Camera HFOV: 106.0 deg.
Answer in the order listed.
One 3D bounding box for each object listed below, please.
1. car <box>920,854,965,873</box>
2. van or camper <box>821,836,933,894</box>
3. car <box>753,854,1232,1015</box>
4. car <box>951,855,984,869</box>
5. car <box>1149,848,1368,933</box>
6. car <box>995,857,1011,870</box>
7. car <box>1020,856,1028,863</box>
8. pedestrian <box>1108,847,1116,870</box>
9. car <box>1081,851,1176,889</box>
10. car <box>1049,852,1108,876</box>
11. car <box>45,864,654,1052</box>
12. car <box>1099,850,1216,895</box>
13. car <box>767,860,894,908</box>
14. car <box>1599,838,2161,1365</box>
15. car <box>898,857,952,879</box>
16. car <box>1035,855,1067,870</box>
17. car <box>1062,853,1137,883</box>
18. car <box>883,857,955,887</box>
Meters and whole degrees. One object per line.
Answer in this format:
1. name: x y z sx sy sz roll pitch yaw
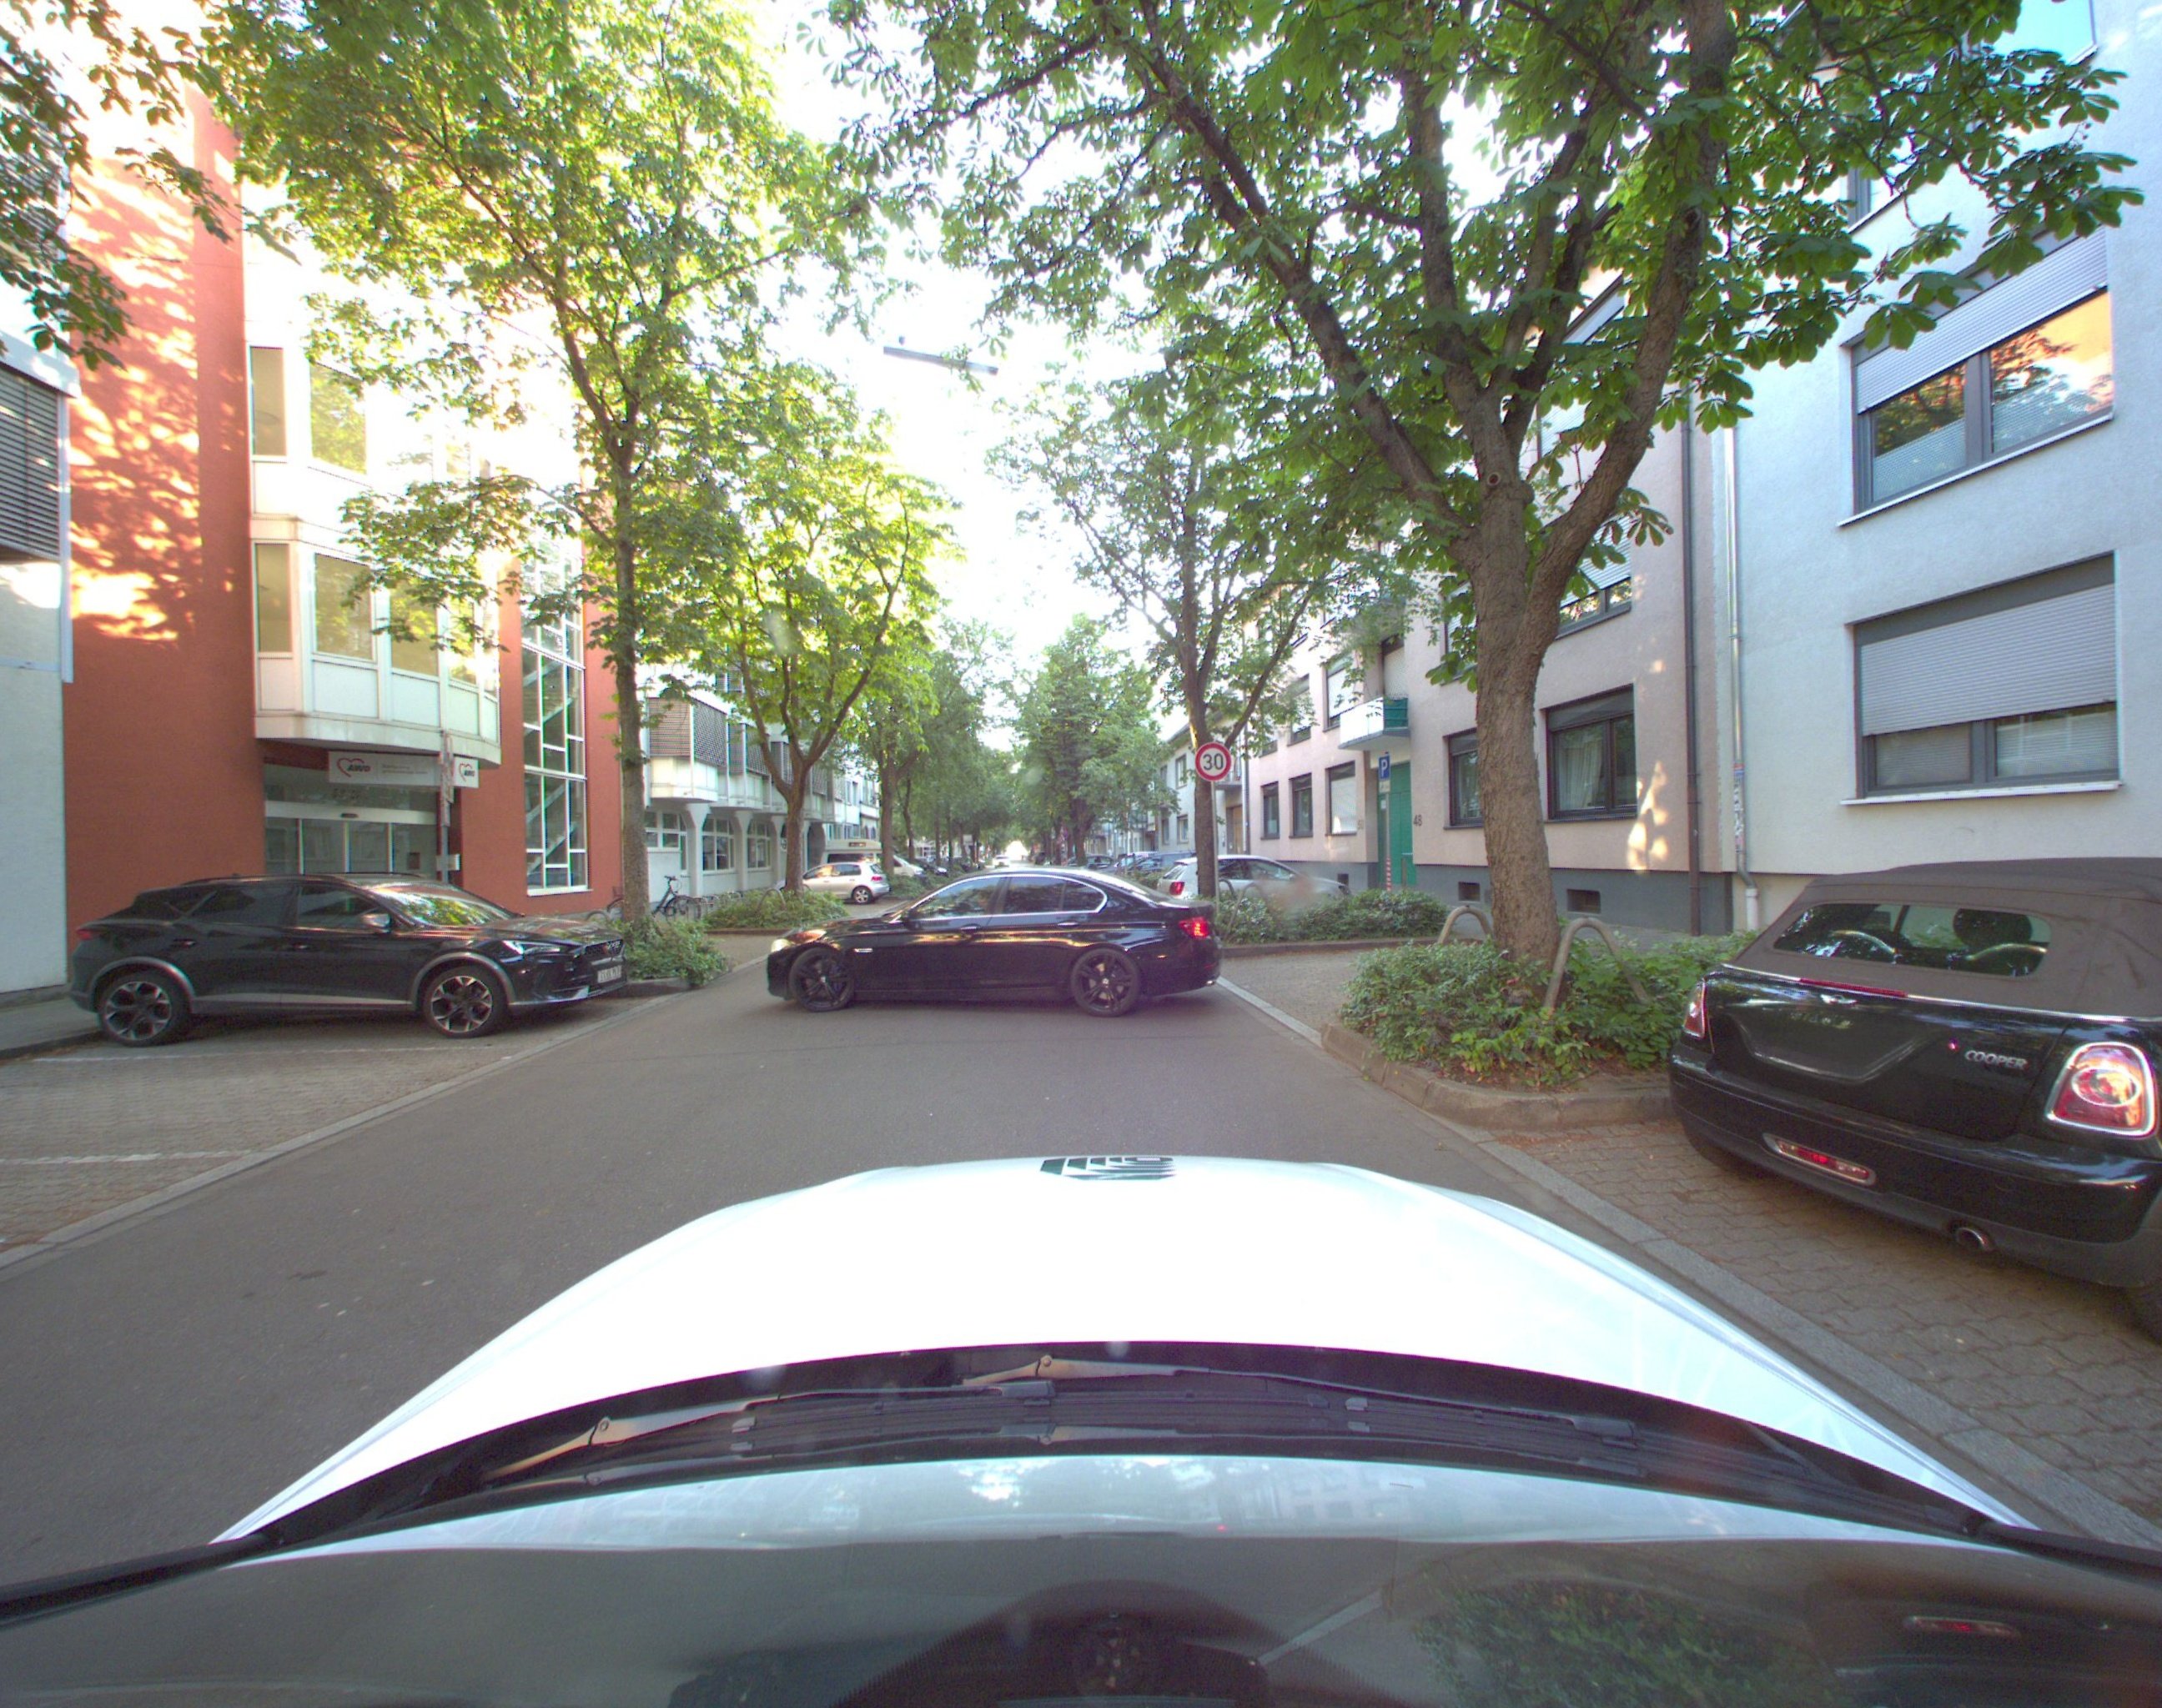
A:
1. car: -13.024 0.871 76.632 3.959 1.619 1.783 -2 0 -4
2. van or camper: -9.300 0.487 37.417 4.656 2.478 1.997 -1 0 -5
3. car: -0.814 0.805 8.774 4.718 1.480 1.804 -1 0 8
4. car: -14.348 1.009 103.077 3.959 1.619 1.783 -2 0 -4
5. car: 3.428 0.679 16.118 3.904 1.476 1.661 -2 0 -7
6. car: -9.781 1.200 102.686 1.775 1.562 4.162 -1 0 -4
7. car: -13.093 1.183 188.259 1.819 1.530 3.995 -2 0 -4
8. pedestrian: 2.755 0.416 72.459 0.587 2.013 0.669 -1 0 -3
9. car: 2.068 0.673 36.242 3.962 1.527 1.782 -2 0 -5
10. car: -0.184 0.669 56.987 3.963 1.527 1.781 -2 0 -6
11. car: -7.028 0.930 8.272 4.347 1.517 1.782 -2 0 -5
12. car: 2.749 0.636 29.755 3.963 1.476 1.781 -2 0 -7
13. car: -8.855 1.046 29.083 3.960 1.517 1.783 -2 0 -4
14. car: 4.342 0.636 3.269 3.608 1.363 1.660 -2 0 -8
15. car: -12.408 1.075 64.966 3.959 1.619 1.783 -2 0 -4
16. car: -3.739 1.071 101.053 3.959 1.684 1.783 -2 0 -4
17. car: 1.009 0.751 45.083 3.962 1.527 1.782 -2 0 -5
18. car: -9.603 1.048 48.420 3.960 1.619 1.783 -2 0 -4
